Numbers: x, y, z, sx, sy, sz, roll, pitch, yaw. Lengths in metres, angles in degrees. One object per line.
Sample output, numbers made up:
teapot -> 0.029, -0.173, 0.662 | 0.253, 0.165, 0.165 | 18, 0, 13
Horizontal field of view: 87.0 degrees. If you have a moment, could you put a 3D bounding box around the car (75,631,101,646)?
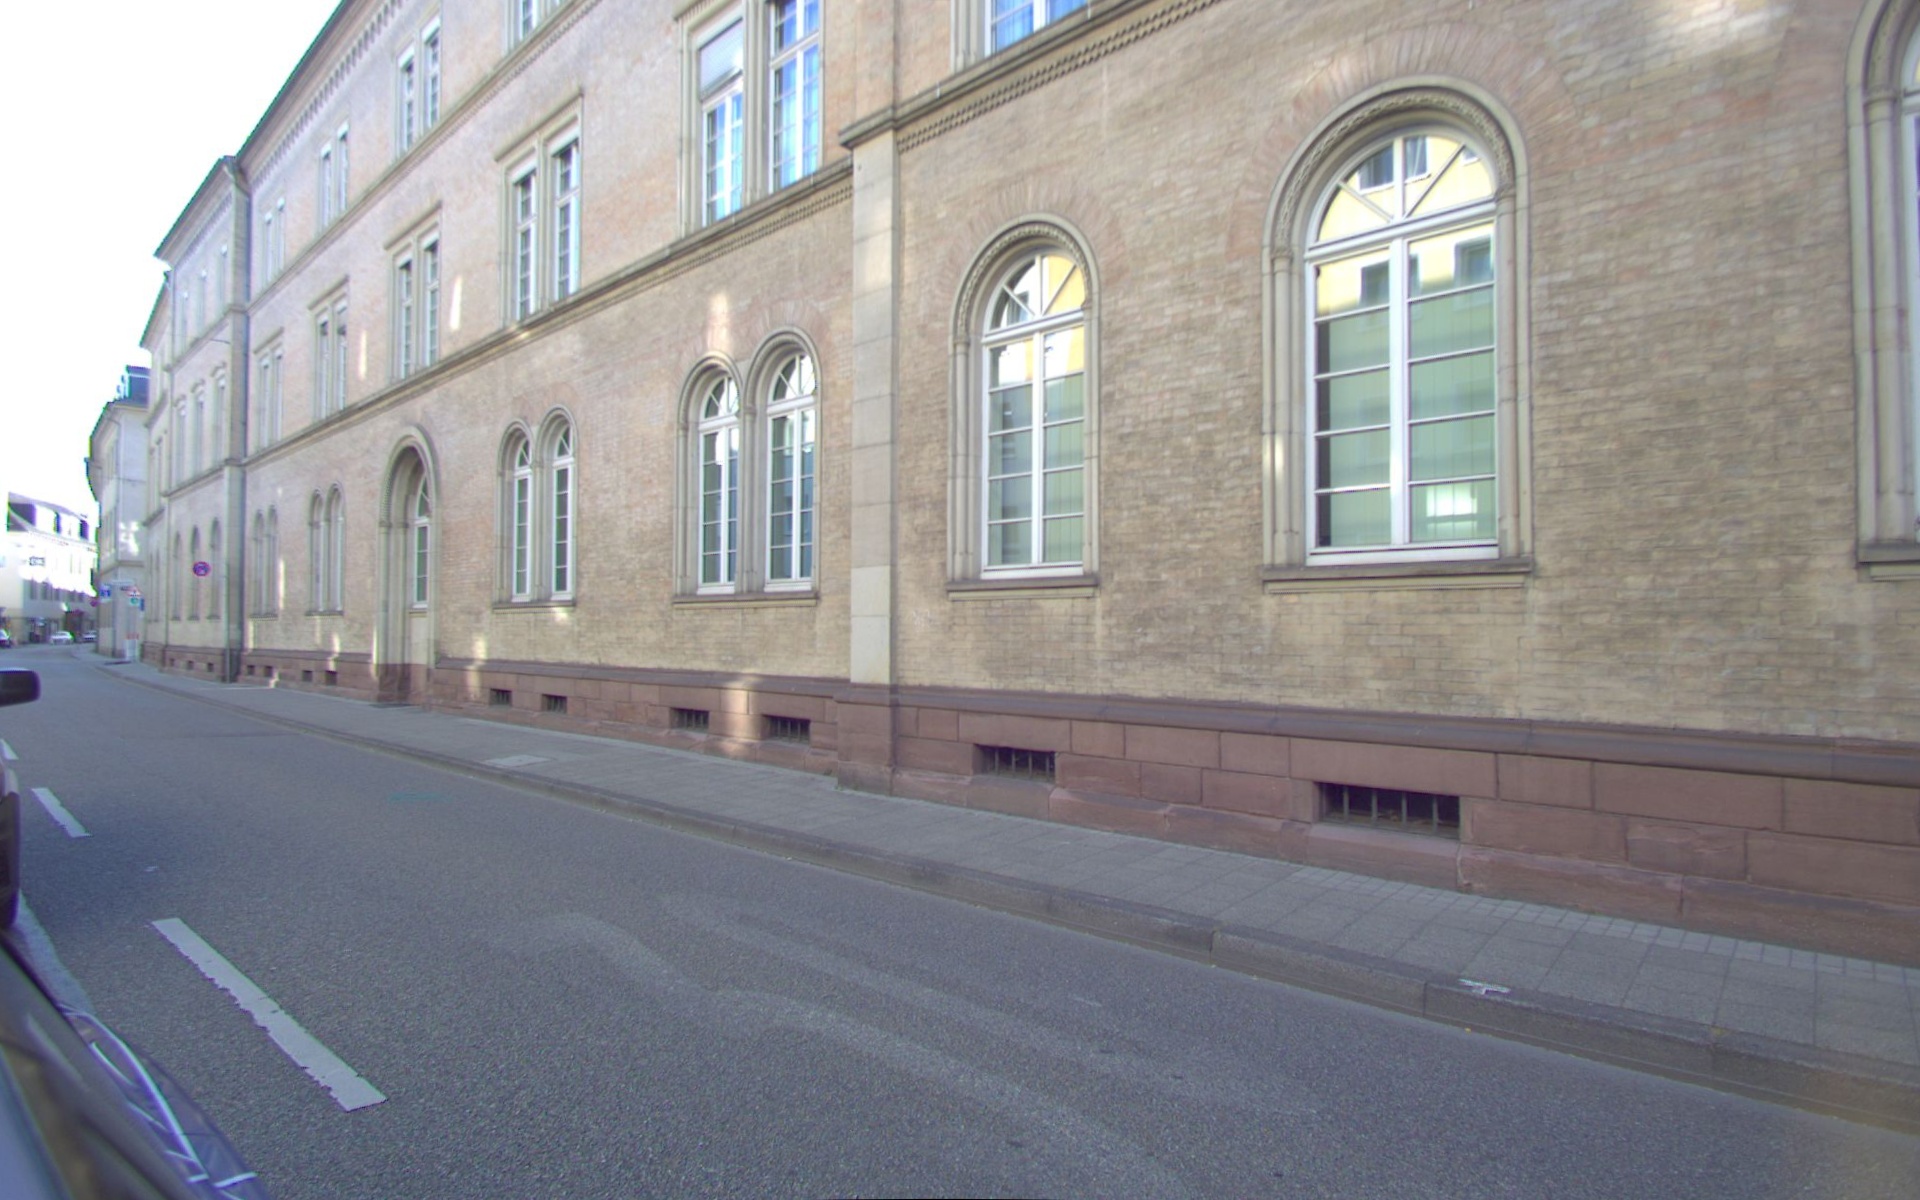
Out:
car -> -109.238, 4.774, 126.813 | 1.966, 1.665, 4.240 | -1, 0, -33

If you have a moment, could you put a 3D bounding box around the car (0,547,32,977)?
car -> -6.507, 0.682, 5.369 | 5.329, 1.784, 1.747 | -1, -2, 41

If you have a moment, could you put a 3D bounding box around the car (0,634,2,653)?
car -> -86.619, 3.903, 89.937 | 1.969, 1.665, 4.235 | -1, 0, -41

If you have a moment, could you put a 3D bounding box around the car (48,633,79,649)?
car -> -102.863, 4.696, 116.160 | 1.966, 1.665, 4.240 | -1, 0, -33
